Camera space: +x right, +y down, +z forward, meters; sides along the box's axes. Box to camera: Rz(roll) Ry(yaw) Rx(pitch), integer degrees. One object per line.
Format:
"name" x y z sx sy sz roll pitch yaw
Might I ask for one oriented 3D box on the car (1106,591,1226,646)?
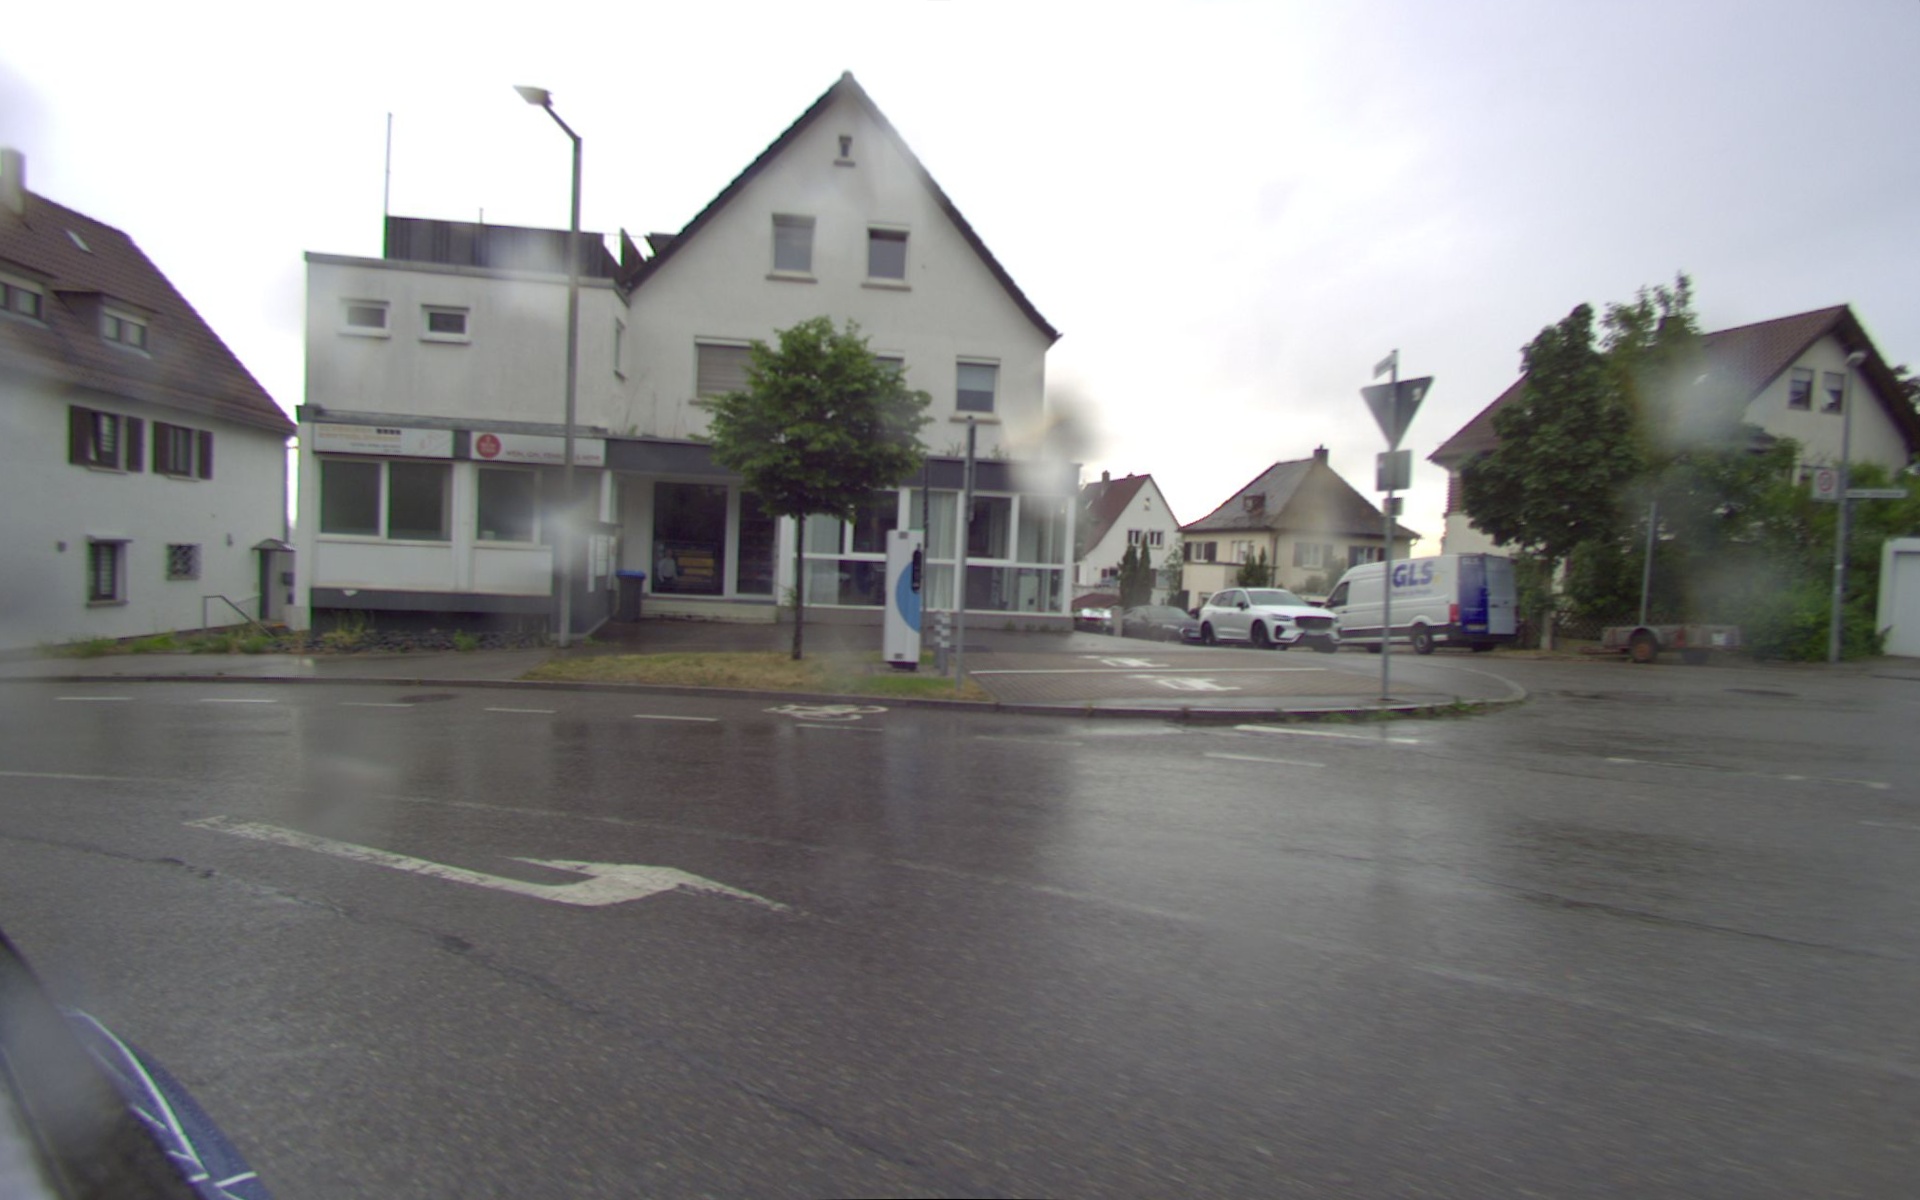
"car" 6.068 0.524 30.401 2.034 1.521 4.491 0 0 -10

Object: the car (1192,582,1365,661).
"car" 7.561 0.467 24.620 2.034 1.719 4.804 0 0 -10

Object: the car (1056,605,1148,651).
"car" 5.057 0.968 36.728 2.034 1.521 4.491 0 0 -10

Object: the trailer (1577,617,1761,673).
"trailer" 14.405 0.885 20.732 1.568 1.014 2.828 -1 0 -8

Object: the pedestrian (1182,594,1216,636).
"pedestrian" 8.830 0.541 37.470 0.811 1.521 0.980 0 0 -20

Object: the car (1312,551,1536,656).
"car" 12.440 0.079 27.822 2.154 2.542 6.271 0 0 -14
